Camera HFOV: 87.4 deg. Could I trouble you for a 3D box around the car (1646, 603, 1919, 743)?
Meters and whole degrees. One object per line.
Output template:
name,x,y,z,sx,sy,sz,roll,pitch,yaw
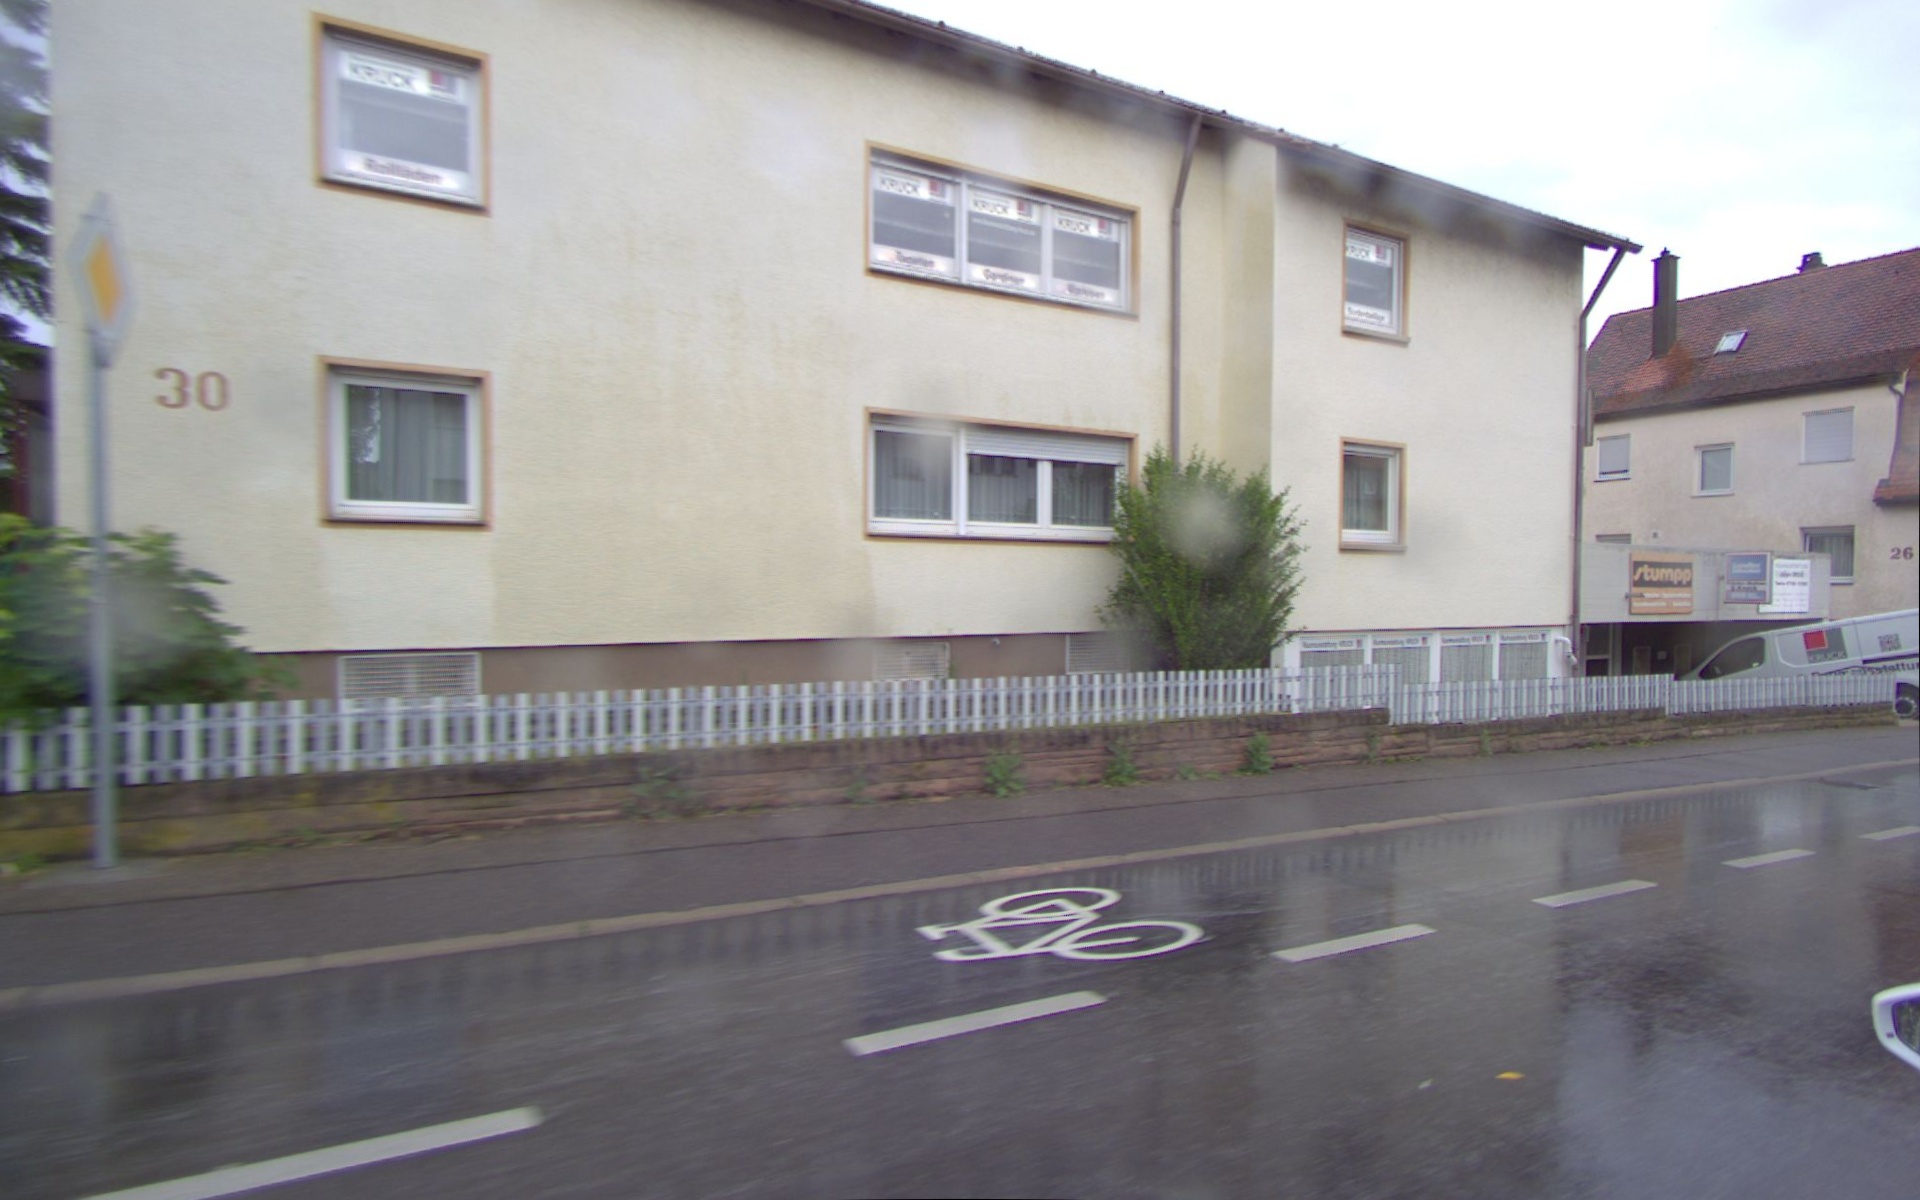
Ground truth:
car,16.024,1.402,18.825,2.134,2.036,4.542,-2,-10,-30
